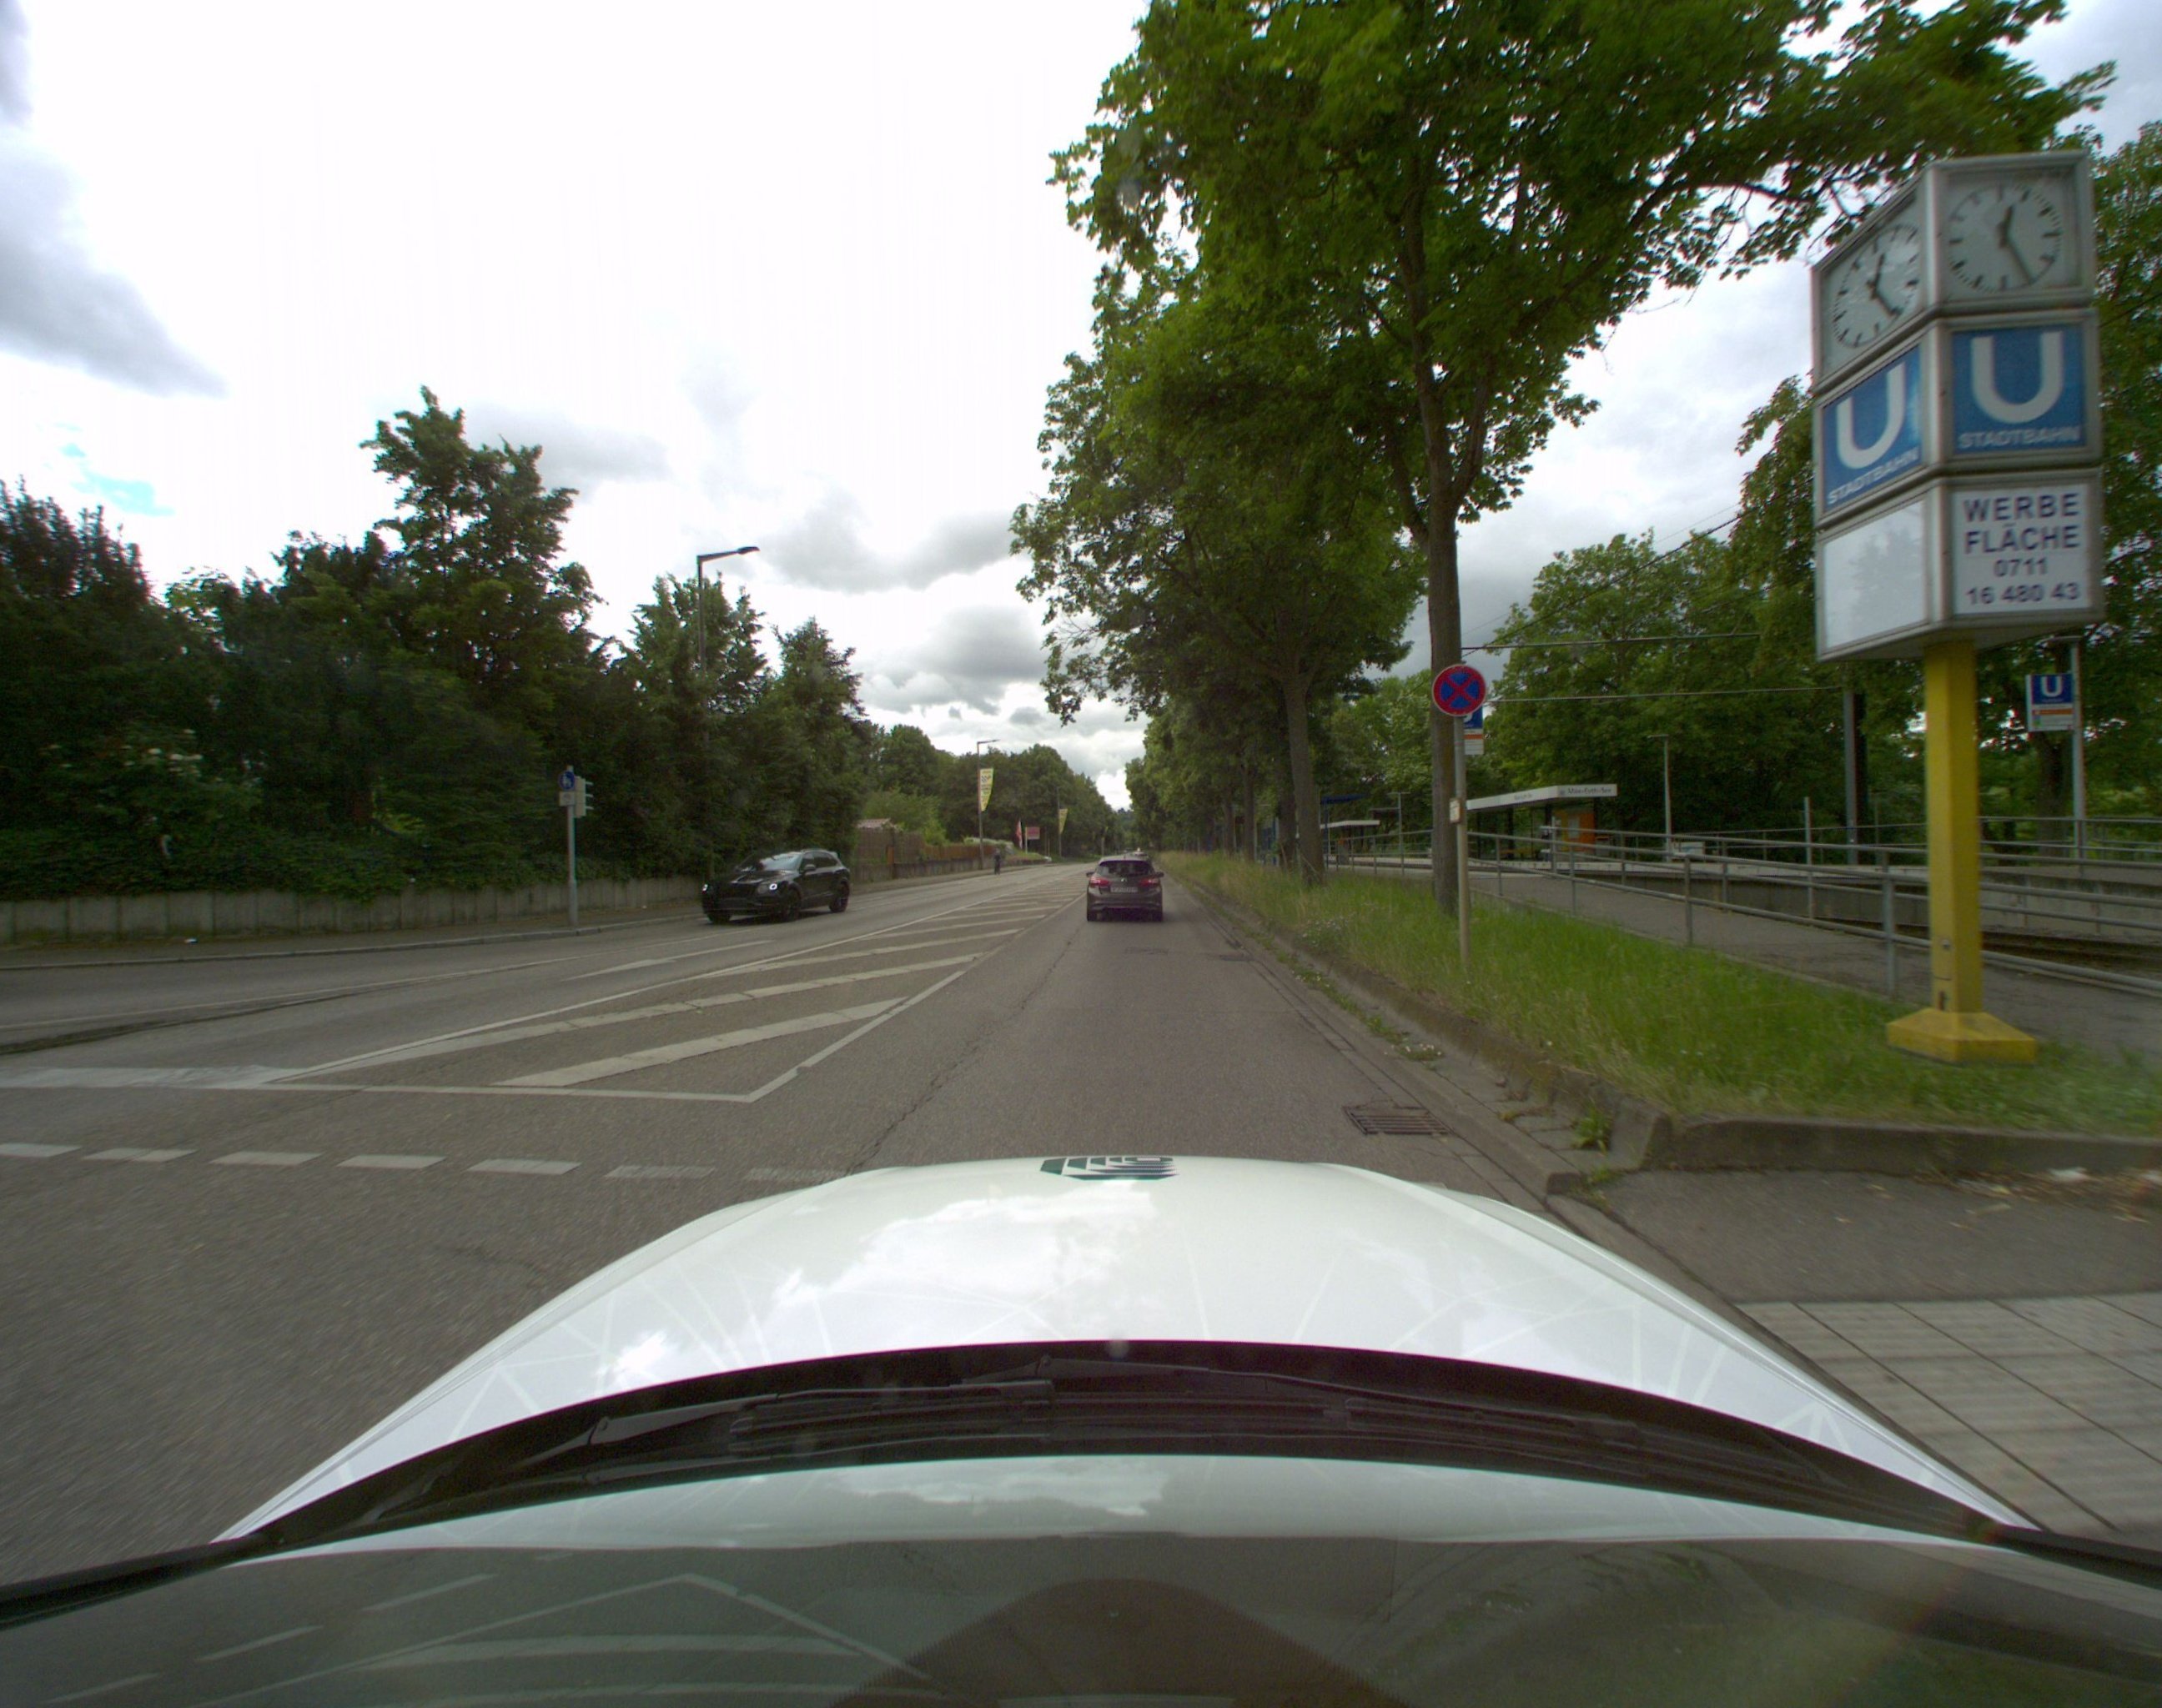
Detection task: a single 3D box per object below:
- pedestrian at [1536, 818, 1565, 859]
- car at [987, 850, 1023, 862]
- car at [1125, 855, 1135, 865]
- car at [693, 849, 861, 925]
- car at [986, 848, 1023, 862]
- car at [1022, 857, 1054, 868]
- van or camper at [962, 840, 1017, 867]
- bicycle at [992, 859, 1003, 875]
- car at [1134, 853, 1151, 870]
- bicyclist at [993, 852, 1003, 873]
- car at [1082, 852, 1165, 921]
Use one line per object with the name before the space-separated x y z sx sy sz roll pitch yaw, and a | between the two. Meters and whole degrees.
pedestrian | 17.669 -0.562 30.664 0.714 1.511 0.725 0 -1 7
car | -8.958 0.204 96.605 3.964 1.411 1.537 0 -1 8
car | 7.475 0.886 124.013 1.496 1.481 3.674 0 -1 3
car | -7.516 0.763 20.795 1.892 1.678 5.089 -1 0 6
car | -8.873 0.124 94.725 3.964 1.497 1.864 0 -1 8
car | -6.029 1.194 114.781 4.358 1.441 1.962 0 0 1
van or camper | -12.911 -0.083 115.035 7.110 3.371 2.799 4 0 4
bicycle | -6.197 0.941 60.428 0.640 1.145 2.147 0 0 0
car | 5.759 0.696 76.456 1.495 1.529 3.677 0 -1 6
bicyclist | -6.173 0.634 60.336 0.640 1.535 0.978 0 0 0
car | 1.155 0.741 20.170 1.828 1.529 3.935 0 -1 6
